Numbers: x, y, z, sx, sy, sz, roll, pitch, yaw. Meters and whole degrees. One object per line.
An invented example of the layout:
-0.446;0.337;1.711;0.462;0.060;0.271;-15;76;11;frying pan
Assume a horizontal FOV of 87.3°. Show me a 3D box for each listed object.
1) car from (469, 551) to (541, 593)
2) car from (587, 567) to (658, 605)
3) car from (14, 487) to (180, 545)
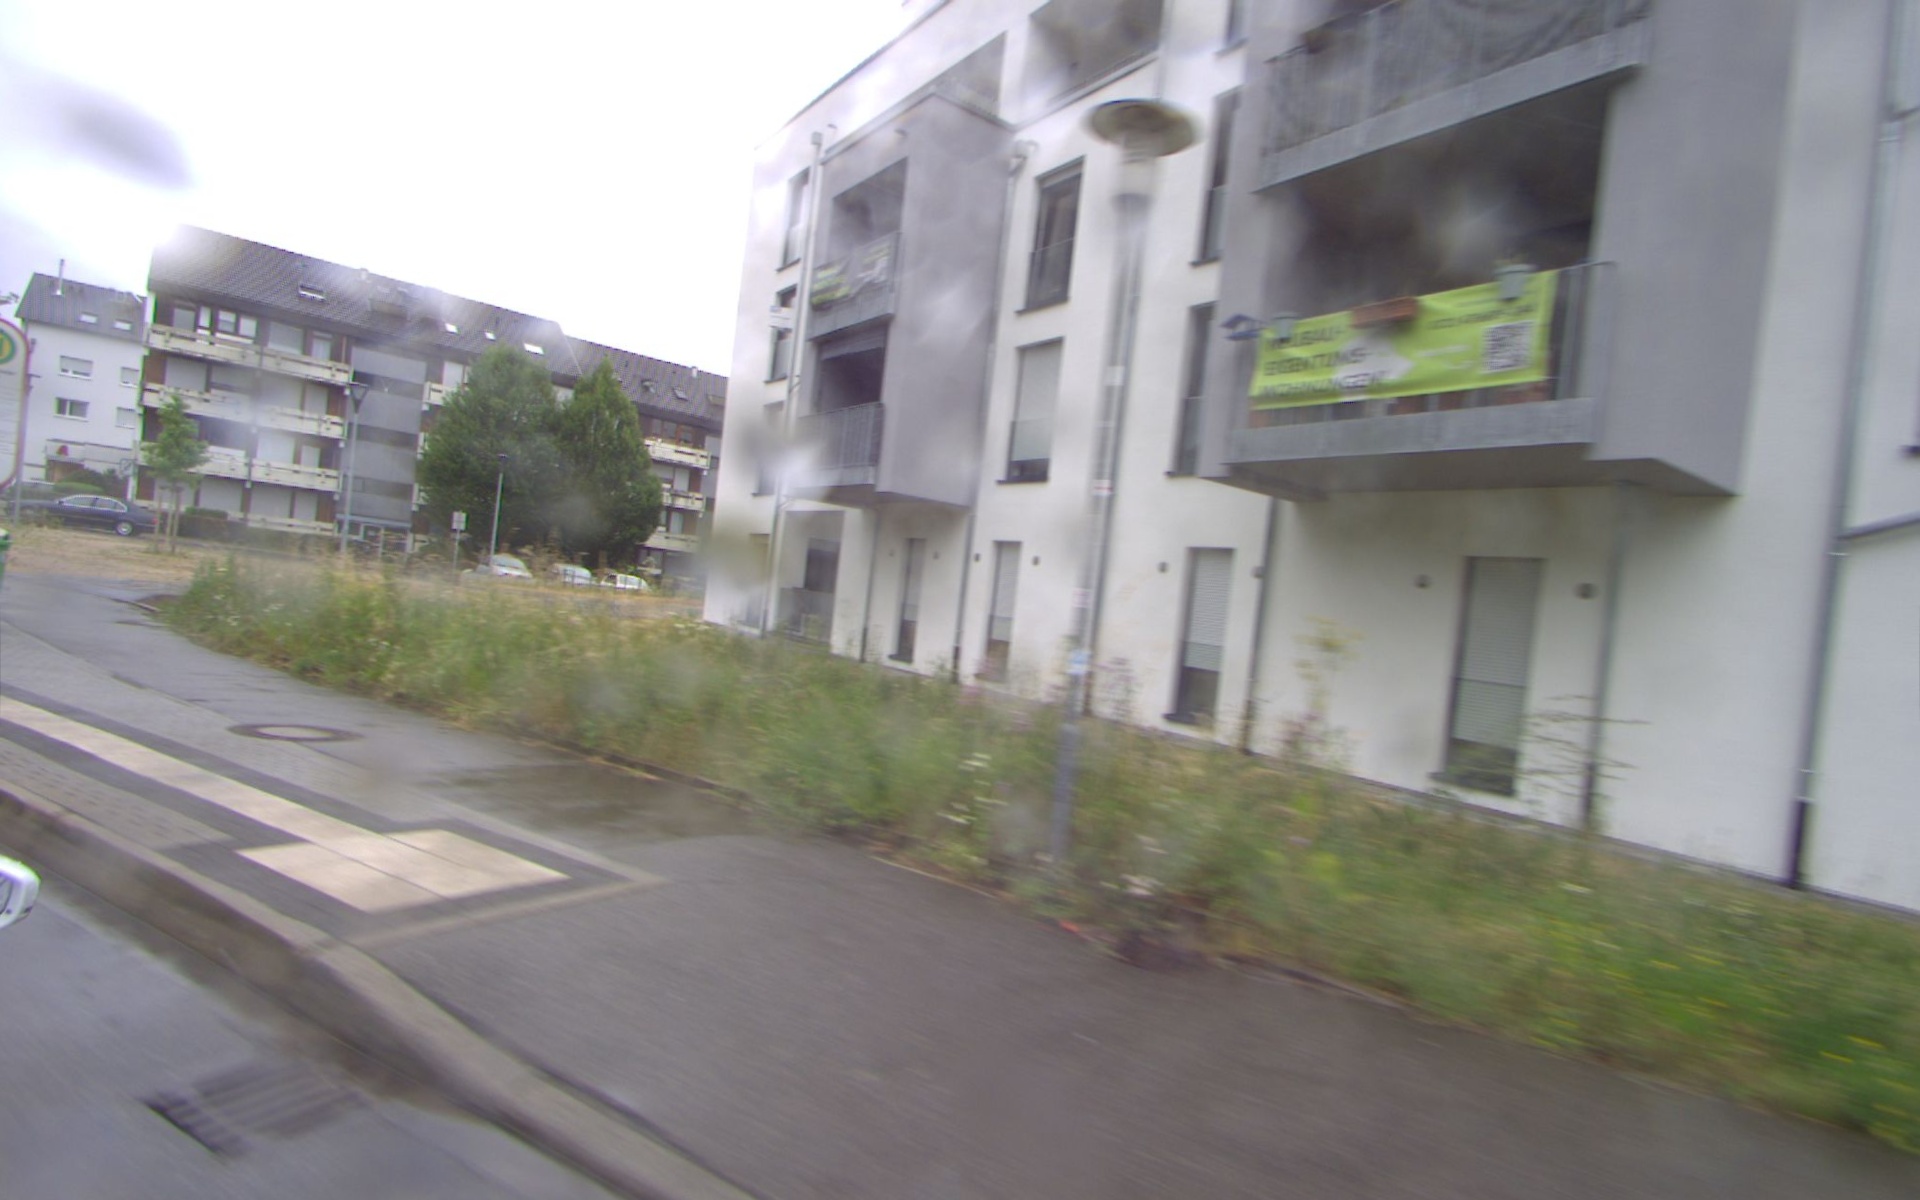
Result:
-18.931;-1.156;41.784;1.709;1.457;3.668;8;-3;-39;car
-15.113;-0.652;44.919;1.709;1.457;3.668;8;-3;-39;car
-33.398;-3.221;39.125;4.574;1.404;1.929;9;-1;-34;car
